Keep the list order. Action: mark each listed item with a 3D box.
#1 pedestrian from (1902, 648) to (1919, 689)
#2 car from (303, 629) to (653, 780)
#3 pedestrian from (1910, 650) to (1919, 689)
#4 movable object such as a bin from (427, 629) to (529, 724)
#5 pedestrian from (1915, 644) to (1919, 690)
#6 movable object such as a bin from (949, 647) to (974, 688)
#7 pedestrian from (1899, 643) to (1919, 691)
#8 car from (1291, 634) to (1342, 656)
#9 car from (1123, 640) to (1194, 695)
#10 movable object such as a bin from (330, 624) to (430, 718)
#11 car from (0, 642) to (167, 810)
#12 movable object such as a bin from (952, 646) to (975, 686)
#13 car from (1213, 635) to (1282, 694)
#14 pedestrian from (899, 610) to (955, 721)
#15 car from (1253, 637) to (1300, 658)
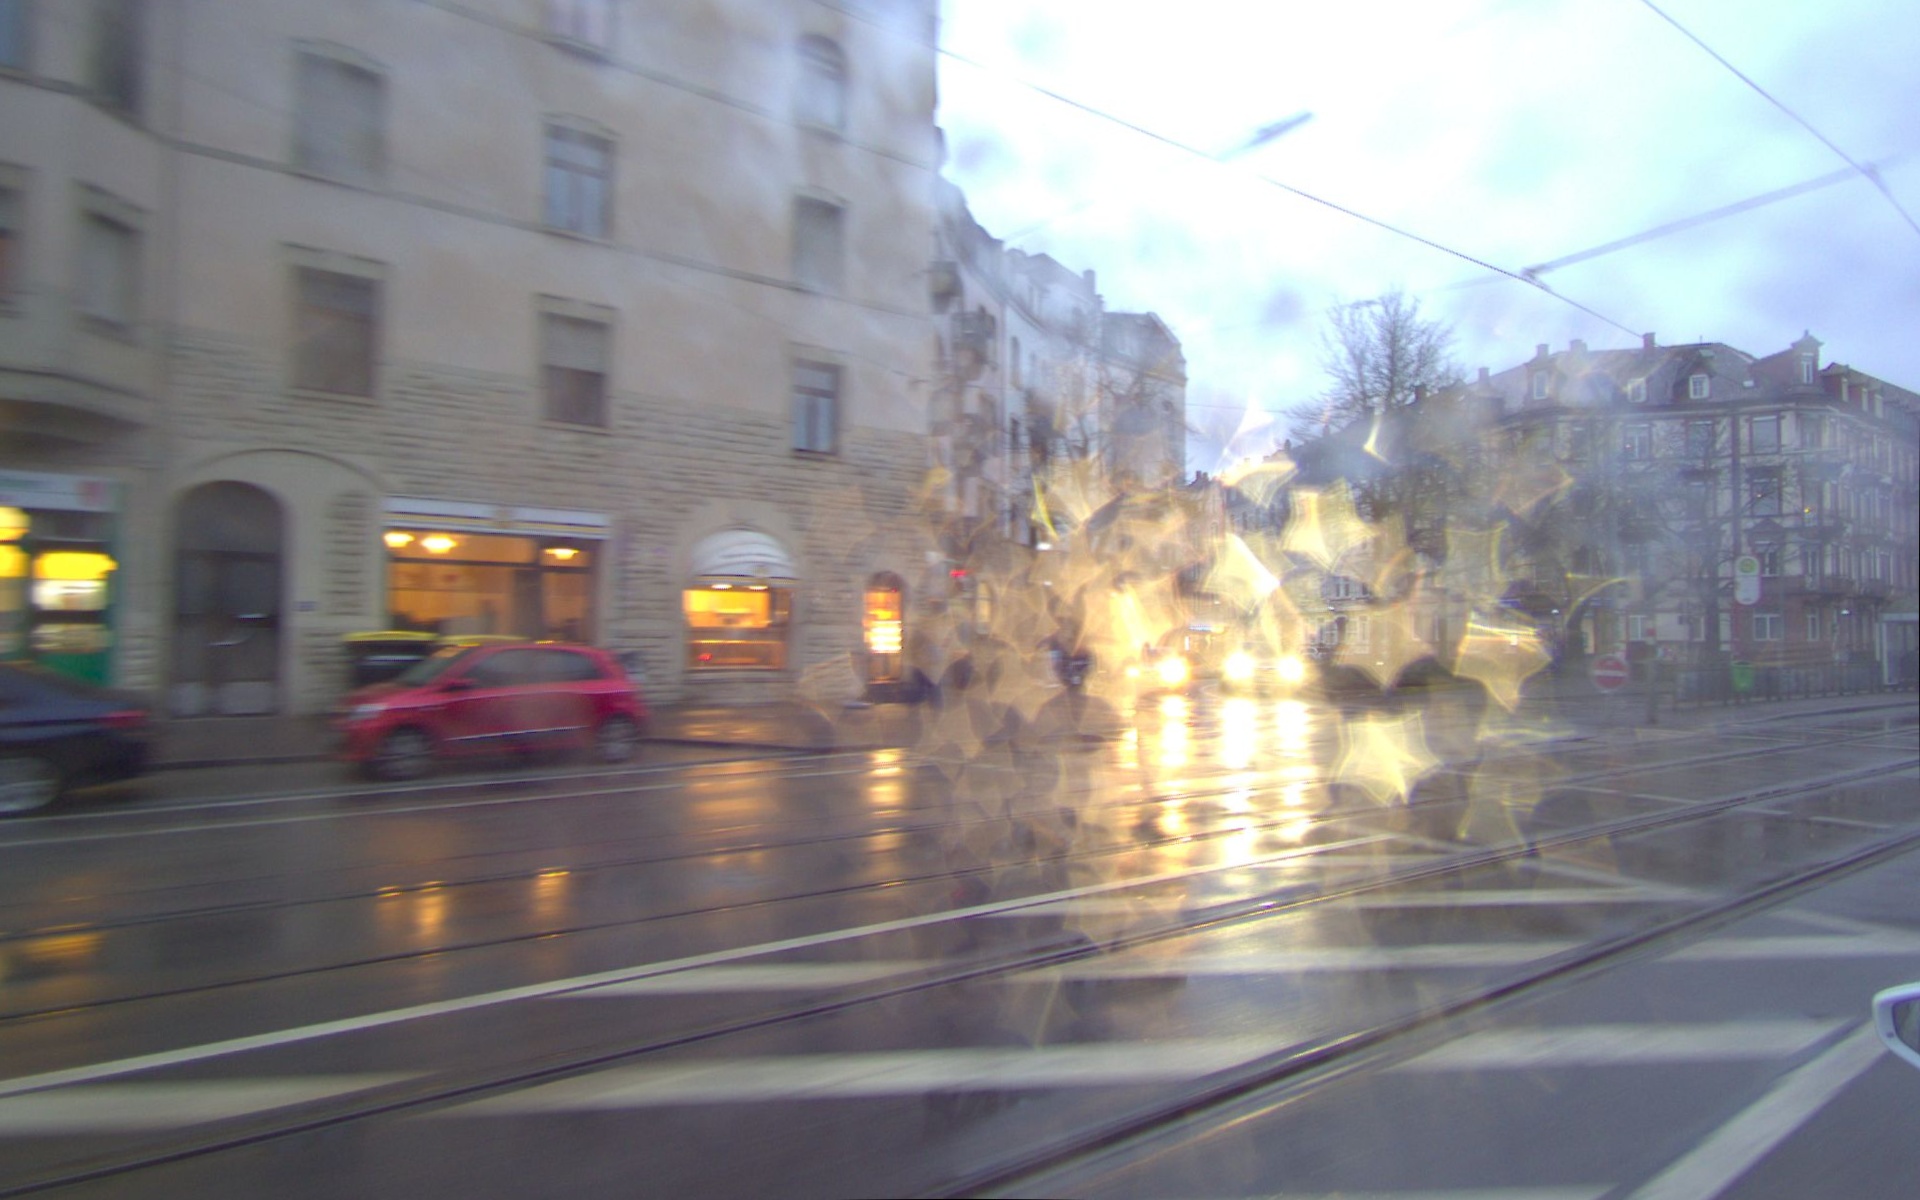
[{"bbox_3d":[30.705,2.200,31.875,0.501,1.271,1.049,2,0,-34],"label":"pedestrian"},{"bbox_3d":[-5.966,1.197,12.637,3.650,1.536,1.657,2,0,-41],"label":"car"},{"bbox_3d":[31.067,2.236,32.288,0.512,1.234,0.648,2,1,-34],"label":"pedestrian"},{"bbox_3d":[-7.864,1.218,16.371,1.269,1.390,1.340,2,0,-36],"label":"movable object such as a bin"},{"bbox_3d":[29.913,2.079,31.037,0.449,1.422,0.470,2,1,-35],"label":"pedestrian"},{"bbox_3d":[0.041,1.918,28.827,0.678,1.150,0.649,0,-2,2],"label":"movable object such as a bin"},{"bbox_3d":[29.439,2.059,30.881,0.572,1.422,0.679,2,1,-34],"label":"pedestrian"},{"bbox_3d":[28.347,3.583,80.004,1.966,1.728,3.989,1,-3,-15],"label":"car"},{"bbox_3d":[6.496,2.140,32.620,1.582,1.492,3.825,2,0,21],"label":"car"},{"bbox_3d":[-9.295,1.113,16.087,1.262,1.390,0.994,2,0,-36],"label":"movable object such as a bin"},{"bbox_3d":[-10.031,1.129,9.049,4.469,1.408,1.788,2,0,-38],"label":"car"},{"bbox_3d":[0.119,1.927,29.547,0.640,1.150,0.649,0,-2,2],"label":"movable object such as a bin"},{"bbox_3d":[9.019,1.955,31.466,1.898,1.604,4.345,2,-1,17],"label":"car"},{"bbox_3d":[-0.589,1.145,18.015,0.877,1.903,0.798,2,0,2],"label":"pedestrian"},{"bbox_3d":[26.883,4.021,85.472,1.967,1.728,3.989,1,-3,-15],"label":"car"}]
